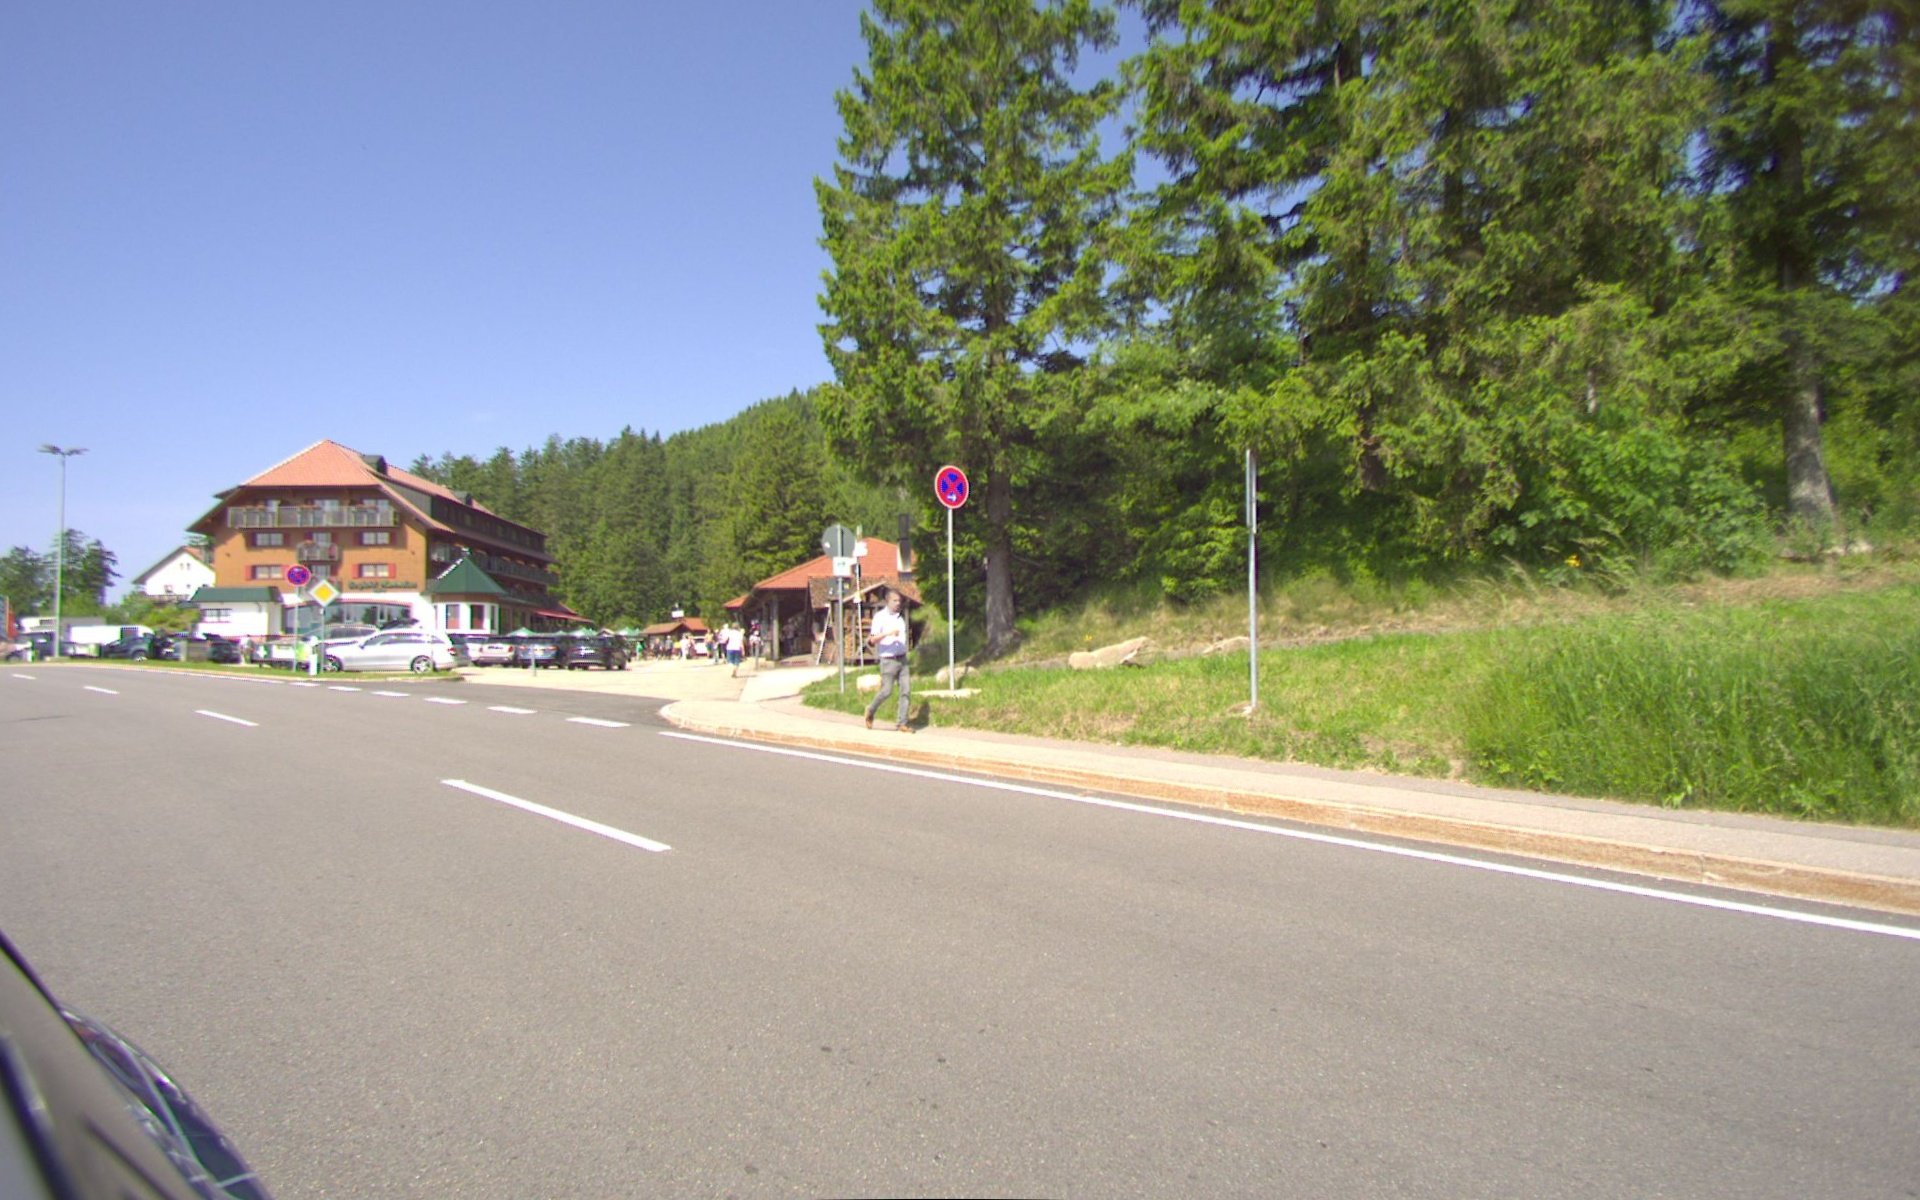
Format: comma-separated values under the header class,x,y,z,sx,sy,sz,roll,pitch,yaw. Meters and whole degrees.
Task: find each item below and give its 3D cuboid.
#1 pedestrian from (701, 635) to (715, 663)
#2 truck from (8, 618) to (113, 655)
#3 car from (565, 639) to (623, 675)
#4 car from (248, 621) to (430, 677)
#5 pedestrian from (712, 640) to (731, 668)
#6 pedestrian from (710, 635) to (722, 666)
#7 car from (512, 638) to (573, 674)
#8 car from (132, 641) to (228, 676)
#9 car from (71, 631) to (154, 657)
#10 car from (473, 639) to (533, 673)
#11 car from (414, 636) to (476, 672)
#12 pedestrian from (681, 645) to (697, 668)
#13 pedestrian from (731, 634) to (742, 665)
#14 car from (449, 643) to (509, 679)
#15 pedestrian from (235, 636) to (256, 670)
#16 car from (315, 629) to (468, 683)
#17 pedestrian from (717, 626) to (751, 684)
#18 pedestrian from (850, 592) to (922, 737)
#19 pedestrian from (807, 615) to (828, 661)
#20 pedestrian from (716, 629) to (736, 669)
class,x,y,z,sx,sy,sz,roll,pitch,yaw
pedestrian,-15.474,2.996,62.096,0.674,1.687,0.533,-1,-2,5
truck,-75.944,2.975,85.672,2.822,2.851,8.784,-1,0,-13
car,-15.137,2.358,41.971,1.686,1.406,3.321,0,-2,-9
car,-22.370,1.723,36.703,5.274,1.884,2.005,0,-2,-14
pedestrian,-10.430,2.346,44.187,0.759,1.206,0.892,0,-2,-17
pedestrian,-14.209,2.945,58.873,0.567,1.779,0.467,-1,-2,5
car,-17.765,2.381,43.212,1.691,1.445,3.321,0,-2,-9
car,-37.501,2.799,48.690,3.286,1.604,1.717,-1,-1,-3
car,-69.140,3.552,82.619,5.174,1.920,2.003,0,-2,-41
car,-20.282,2.485,45.042,1.615,1.445,3.321,0,-2,-9
car,-25.079,2.606,49.370,1.688,1.564,3.139,-1,-1,-6
pedestrian,-17.838,3.700,66.568,0.971,1.507,0.892,0,-2,-18
pedestrian,-11.744,2.602,53.166,0.514,1.635,0.538,0,-2,-11
car,-22.586,2.832,47.632,1.704,1.476,3.528,-1,0,-10
pedestrian,-36.241,2.671,51.351,0.768,1.712,0.684,1,-2,-44
car,-18.057,1.754,32.327,3.900,1.600,1.793,0,-1,-9
pedestrian,-6.926,1.679,31.069,0.900,1.754,0.637,-1,-2,-2
pedestrian,-0.931,0.795,12.721,0.686,1.754,0.573,-2,-2,41
pedestrian,-6.424,1.714,45.675,0.883,2.029,0.789,-1,-1,-8
pedestrian,-10.045,2.094,43.439,0.759,1.679,0.892,0,-2,-17
